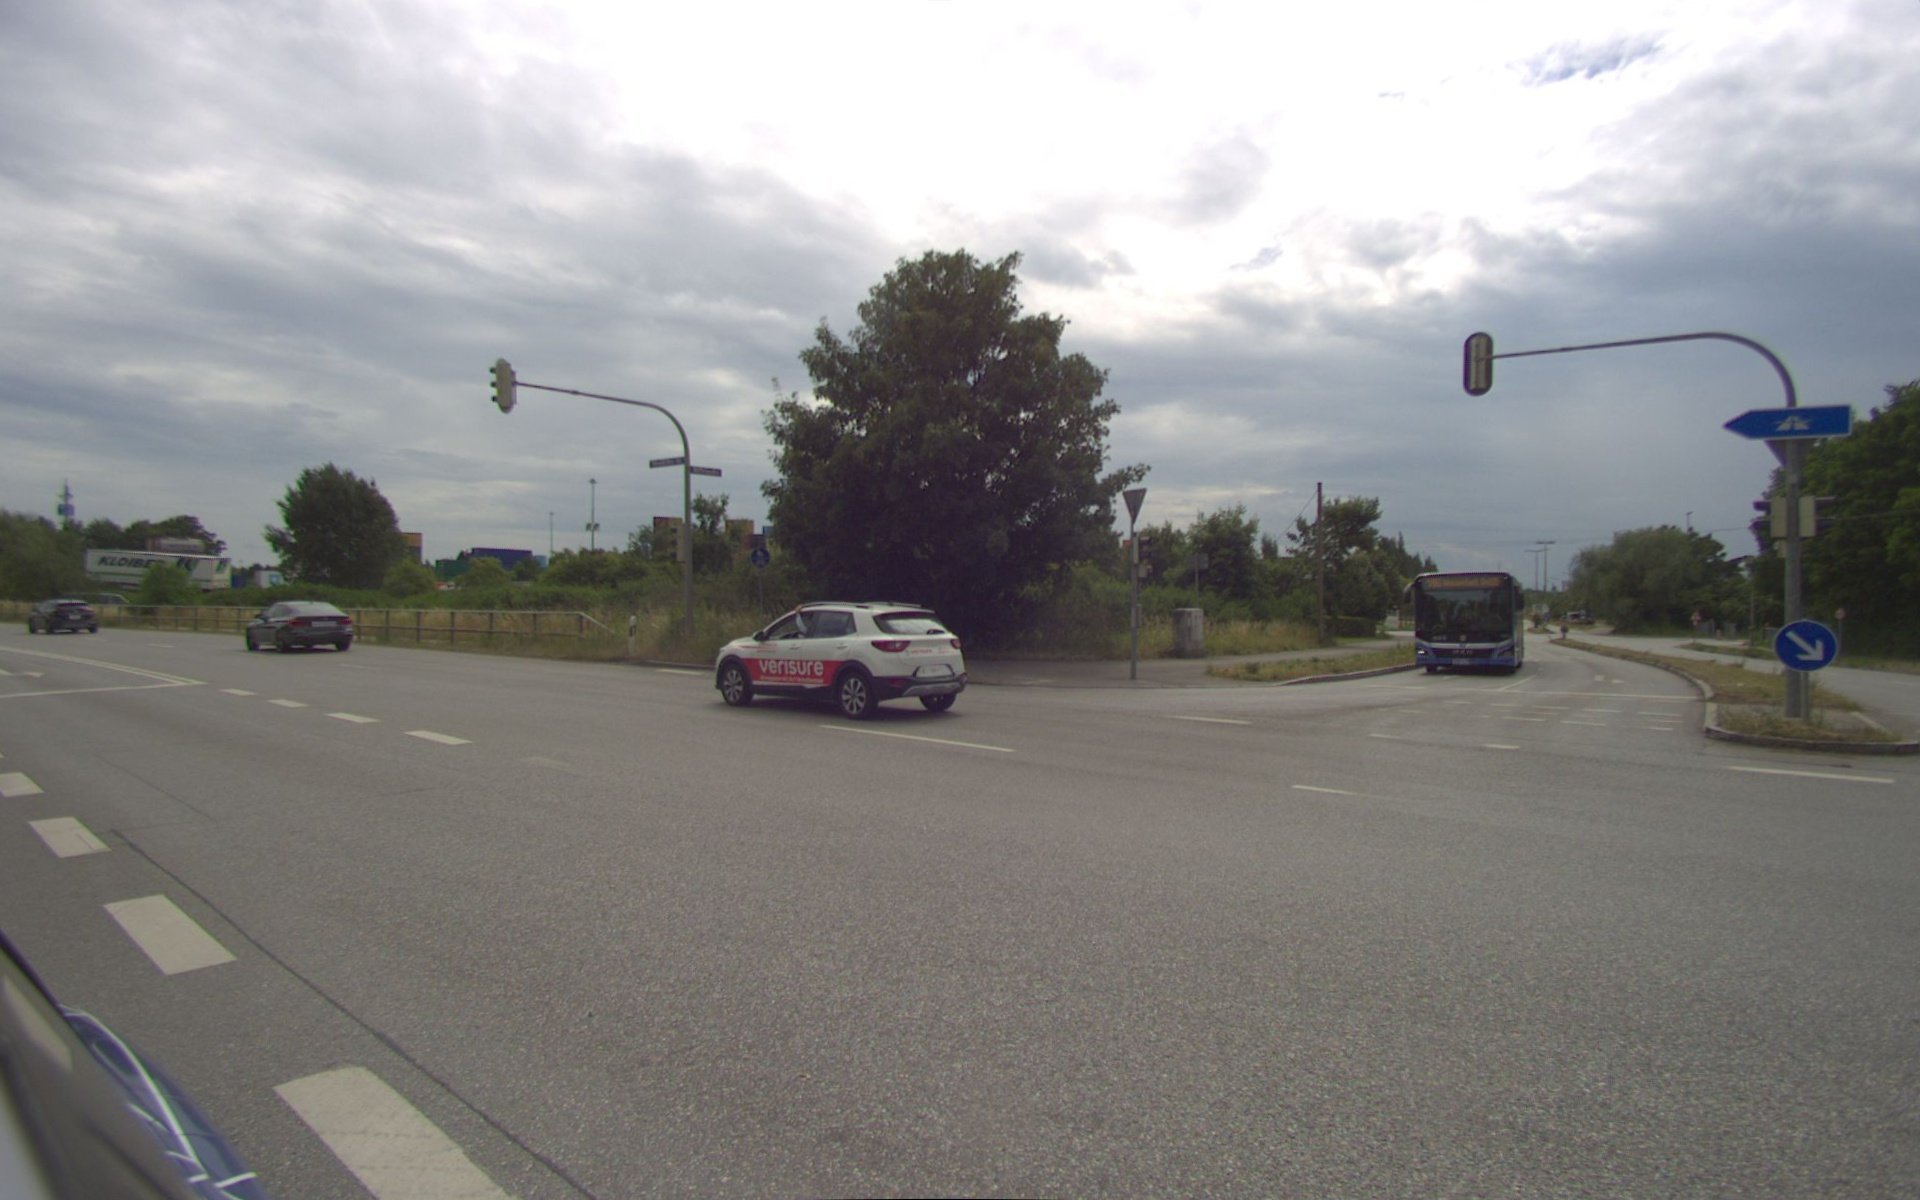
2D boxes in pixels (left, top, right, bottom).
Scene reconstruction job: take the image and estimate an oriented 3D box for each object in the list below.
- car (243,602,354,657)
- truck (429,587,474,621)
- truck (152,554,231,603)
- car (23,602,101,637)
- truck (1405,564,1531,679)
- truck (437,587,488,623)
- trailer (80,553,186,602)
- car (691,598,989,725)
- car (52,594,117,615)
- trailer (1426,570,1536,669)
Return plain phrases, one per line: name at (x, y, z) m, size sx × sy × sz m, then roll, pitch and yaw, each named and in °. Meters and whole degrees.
car at (-20.304, 0.847, 30.985) m, size 4.904 × 1.541 × 1.768 m, roll 0°, pitch 0°, yaw 44°
truck at (-64.534, 0.464, 128.548) m, size 4.772 × 4.325 × 2.205 m, roll 0°, pitch 1°, yaw -16°
truck at (-80.032, -2.280, 105.496) m, size 6.105 × 5.033 × 2.804 m, roll 0°, pitch 1°, yaw 1°
car at (-41.785, 0.876, 47.068) m, size 3.989 × 1.585 × 1.776 m, roll 0°, pitch 0°, yaw 34°
truck at (15.778, 0.626, 31.111) m, size 2.876 × 3.060 × 7.858 m, roll -1°, pitch -1°, yaw 31°
truck at (-61.644, 0.596, 125.459) m, size 5.338 × 4.325 × 2.205 m, roll 0°, pitch 1°, yaw -15°
trailer at (-86.227, -2.309, 105.629) m, size 8.860 × 5.033 × 2.807 m, roll 0°, pitch 1°, yaw 1°
car at (-1.798, 0.763, 14.174) m, size 4.344 × 1.516 × 1.711 m, roll -1°, pitch -1°, yaw 41°
car at (-80.836, 0.406, 93.539) m, size 4.473 × 1.890 × 2.004 m, roll -1°, pitch 1°, yaw -39°
trailer at (19.147, 0.671, 36.783) m, size 2.876 × 3.060 × 10.642 m, roll -1°, pitch -1°, yaw 31°
